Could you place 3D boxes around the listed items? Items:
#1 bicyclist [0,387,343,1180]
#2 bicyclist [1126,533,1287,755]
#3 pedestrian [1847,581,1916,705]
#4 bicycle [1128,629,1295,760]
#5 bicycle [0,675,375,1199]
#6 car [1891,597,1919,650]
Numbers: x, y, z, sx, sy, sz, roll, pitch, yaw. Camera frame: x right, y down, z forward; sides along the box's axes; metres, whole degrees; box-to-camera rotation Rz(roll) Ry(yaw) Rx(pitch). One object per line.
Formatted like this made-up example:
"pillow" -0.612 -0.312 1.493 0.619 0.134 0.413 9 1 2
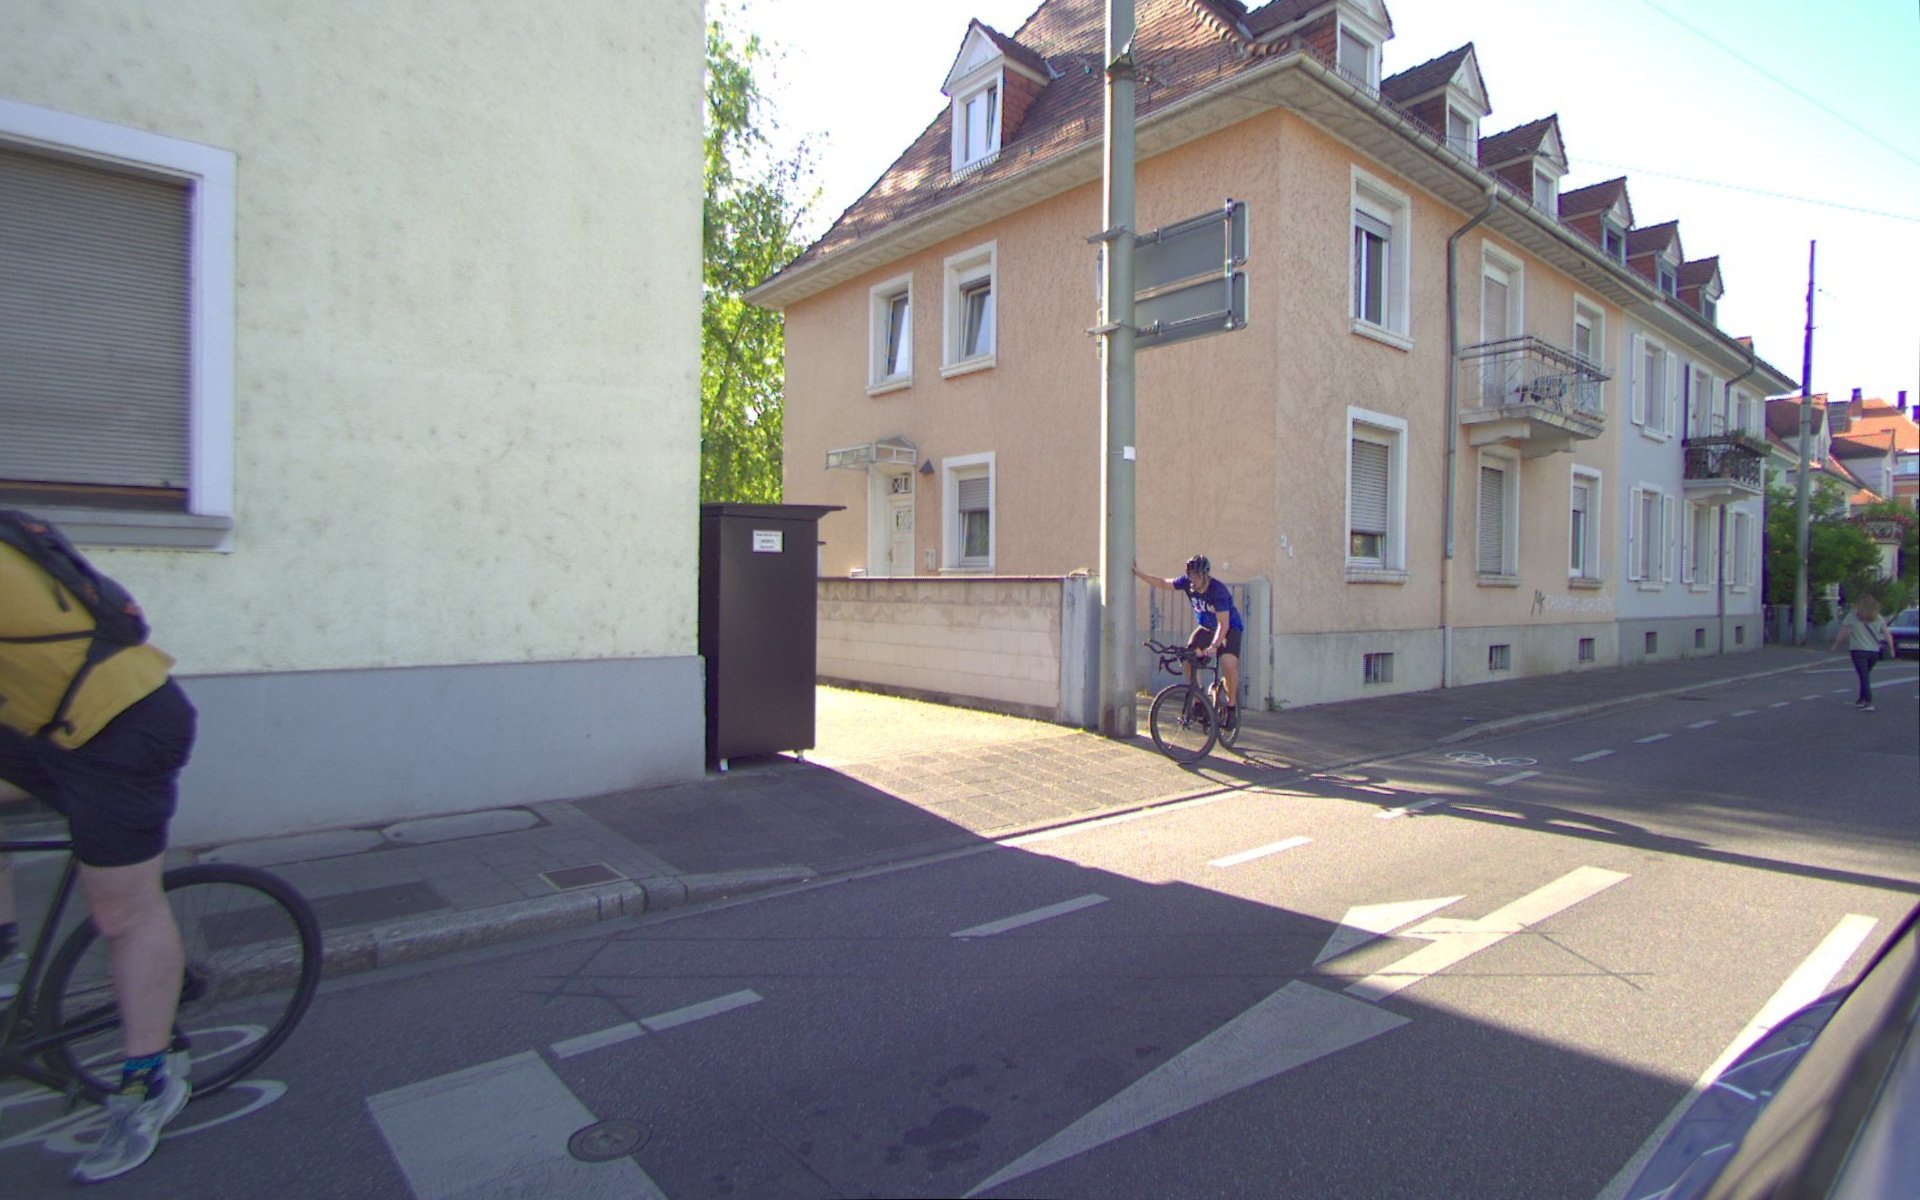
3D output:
"bicyclist" -2.301 0.420 2.705 1.018 1.840 0.653 0 1 -41
"bicyclist" 2.283 0.358 9.440 0.831 1.887 1.076 0 4 -40
"pedestrian" 13.144 0.578 14.431 0.693 1.682 1.081 0 0 44
"bicycle" 2.316 0.815 9.215 1.669 1.003 0.572 0 4 -41
"bicycle" -2.477 0.843 2.541 1.669 1.180 0.572 0 1 -41
"car" 26.698 0.623 27.349 3.796 1.382 1.648 0 1 -38
